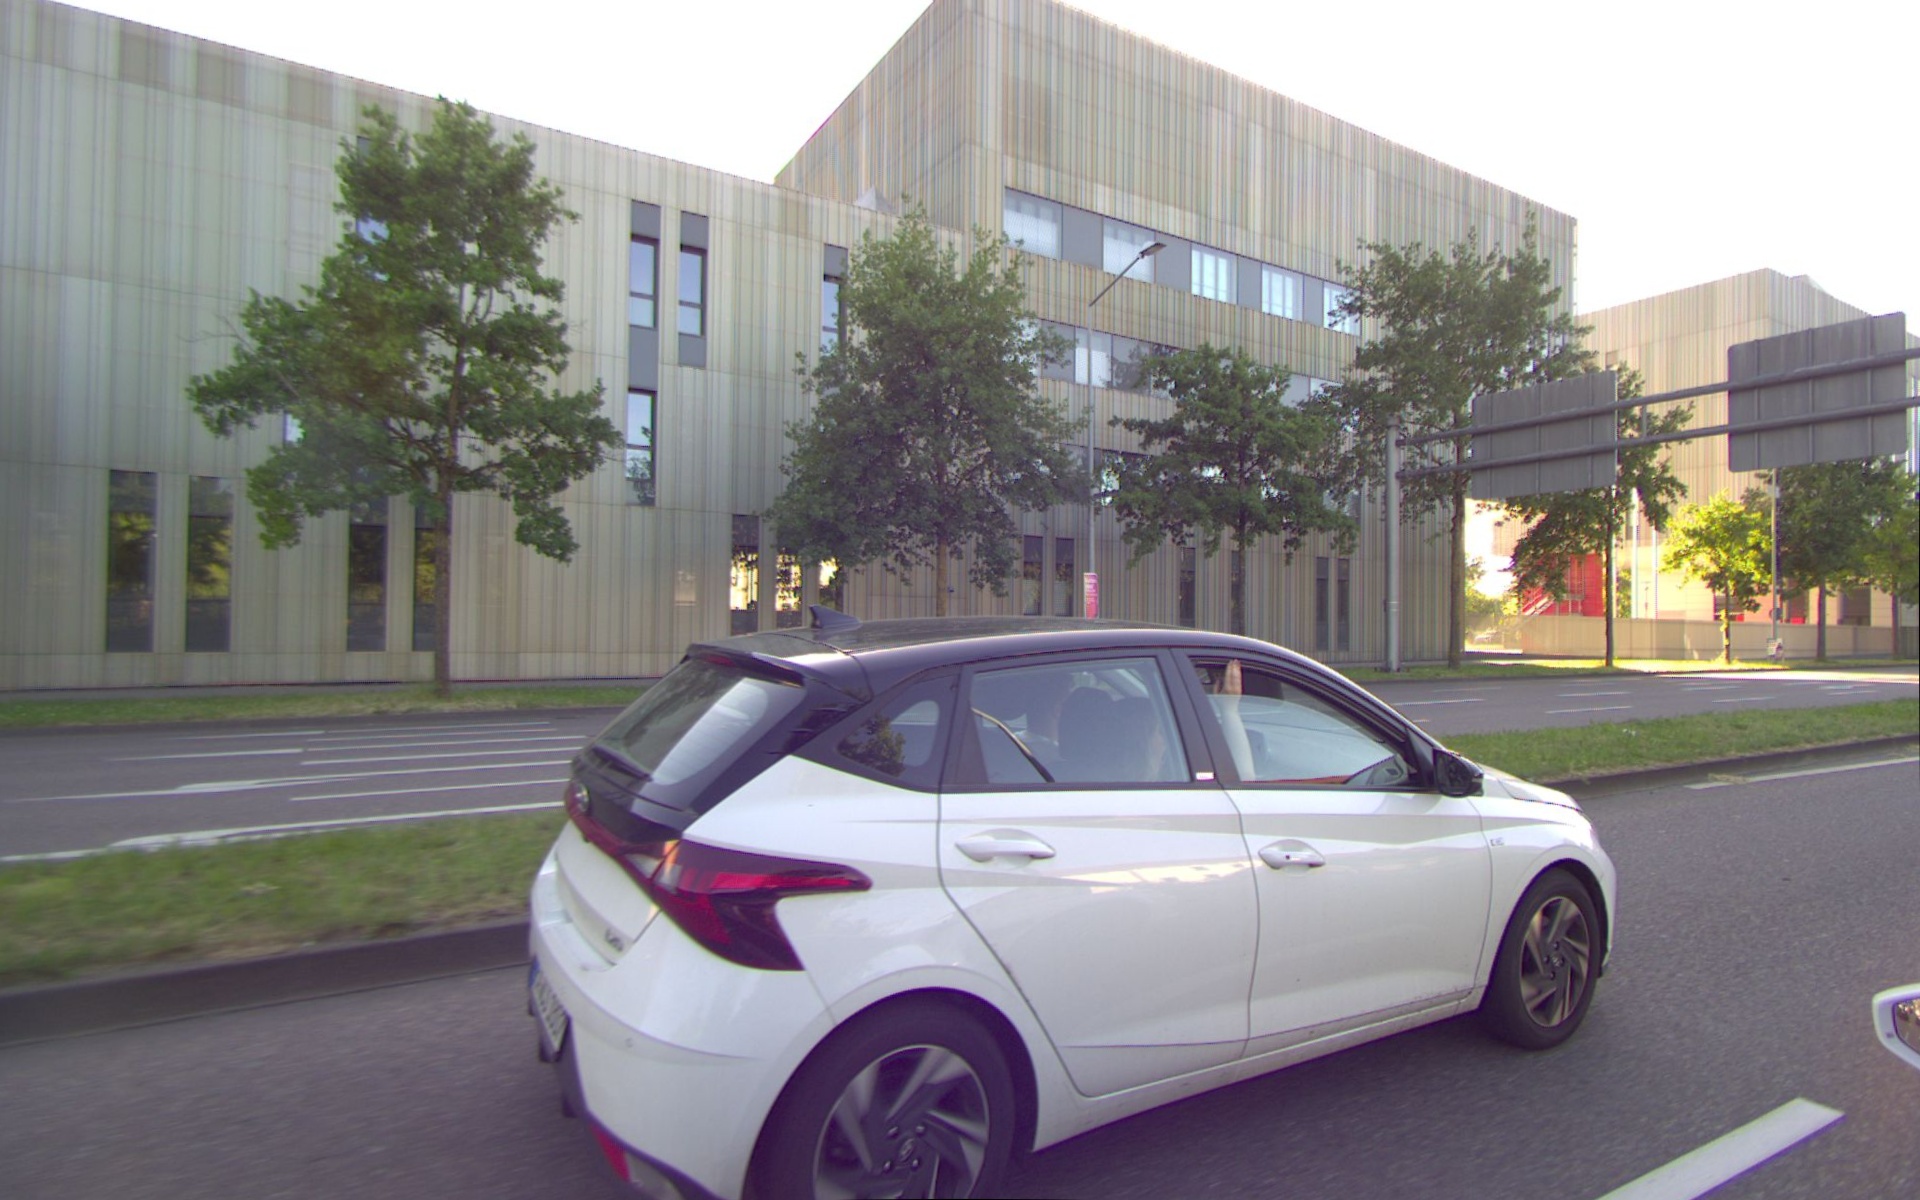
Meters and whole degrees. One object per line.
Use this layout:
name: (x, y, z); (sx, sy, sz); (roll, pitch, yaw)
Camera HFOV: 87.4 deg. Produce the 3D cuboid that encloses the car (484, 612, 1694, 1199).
car: (0.621, 0.788, 3.553); (4.027, 1.427, 1.769); (1, -1, -31)
